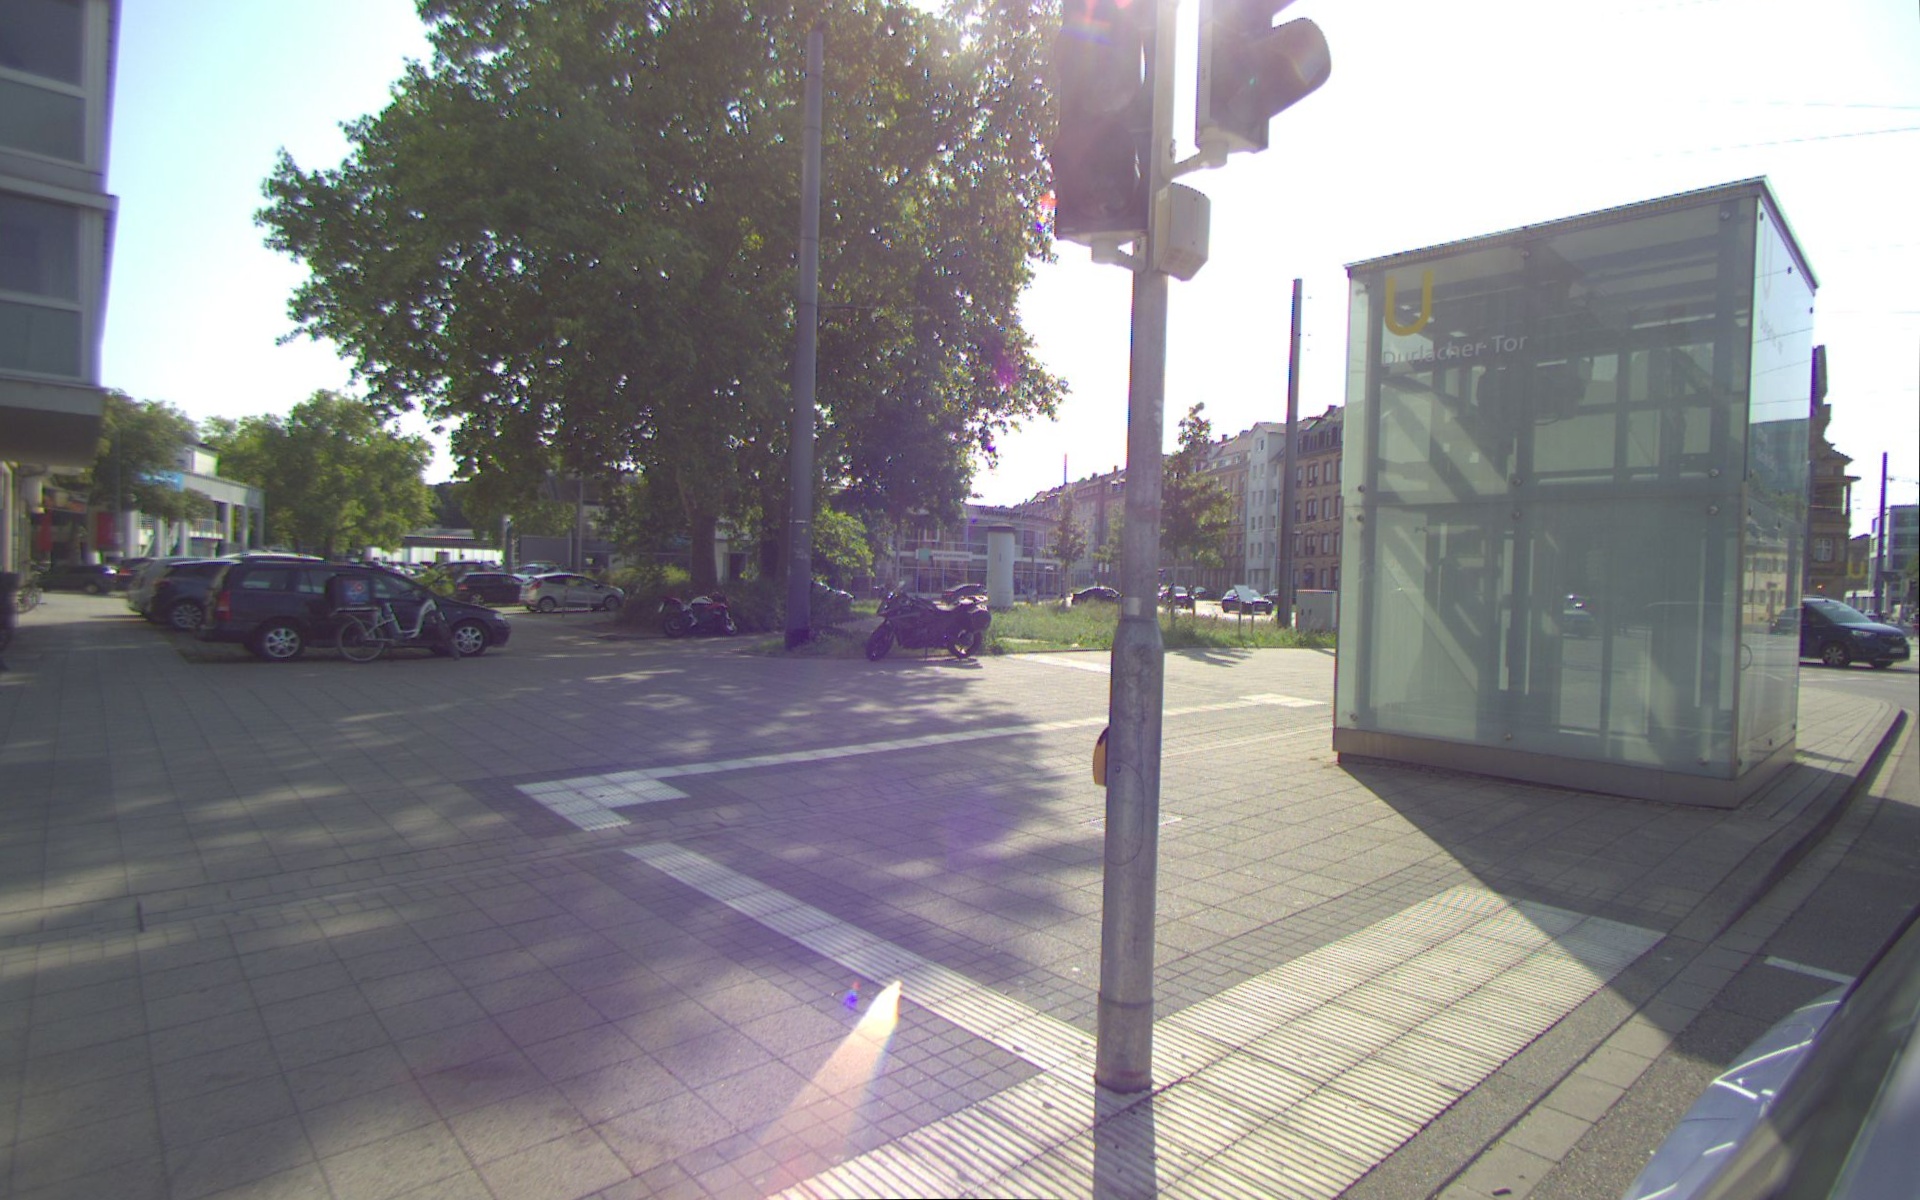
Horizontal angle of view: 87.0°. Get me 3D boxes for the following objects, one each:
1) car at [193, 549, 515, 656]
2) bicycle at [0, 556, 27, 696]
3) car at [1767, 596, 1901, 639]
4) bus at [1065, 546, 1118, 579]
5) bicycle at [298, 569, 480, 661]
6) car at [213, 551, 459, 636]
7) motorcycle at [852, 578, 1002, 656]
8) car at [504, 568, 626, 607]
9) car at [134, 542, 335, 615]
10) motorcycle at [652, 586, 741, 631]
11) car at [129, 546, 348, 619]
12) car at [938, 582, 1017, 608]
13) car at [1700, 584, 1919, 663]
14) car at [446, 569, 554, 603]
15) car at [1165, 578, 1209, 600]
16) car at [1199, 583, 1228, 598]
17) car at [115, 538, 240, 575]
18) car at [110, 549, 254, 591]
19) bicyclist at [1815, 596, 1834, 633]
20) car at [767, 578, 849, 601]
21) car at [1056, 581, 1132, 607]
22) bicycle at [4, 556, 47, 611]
[{"bbox_3d":[-9.422,0.017,15.922,4.120,1.459,1.660,1,2,-41],"label":"car"},{"bbox_3d":[-9.385,0.199,9.638,0.659,1.221,2.021,1,2,-41],"label":"bicycle"},{"bbox_3d":[37.716,0.737,43.783,1.707,1.601,3.985,2,1,-22],"label":"car"},{"bbox_3d":[12.968,-3.697,101.138,2.840,3.021,11.511,2,1,-5],"label":"bus"},{"bbox_3d":[-8.304,0.201,14.818,0.523,1.250,2.265,3,1,44],"label":"bicycle"},{"bbox_3d":[-12.408,-0.133,20.230,3.930,1.526,1.998,1,2,-41],"label":"car"},{"bbox_3d":[-0.514,0.274,16.127,2.253,1.161,0.706,1,1,-26],"label":"motorcycle"},{"bbox_3d":[-15.145,-0.465,38.872,3.932,1.393,1.996,0,2,-43],"label":"car"},{"bbox_3d":[-18.026,-0.515,25.215,3.930,1.665,1.998,1,2,-41],"label":"car"},{"bbox_3d":[-6.225,0.207,23.964,1.916,1.014,0.706,1,1,-26],"label":"motorcycle"},{"bbox_3d":[-16.433,-0.390,23.126,3.930,1.526,1.998,1,2,-41],"label":"car"},{"bbox_3d":[1.021,-0.302,60.806,4.305,1.387,2.005,1,1,-16],"label":"car"},{"bbox_3d":[23.241,0.566,27.654,1.765,1.850,4.784,2,1,-14],"label":"car"},{"bbox_3d":[-20.248,-0.622,44.600,3.932,1.393,1.996,0,2,-43],"label":"car"},{"bbox_3d":[16.465,-0.815,73.490,1.766,1.459,3.638,2,1,-10],"label":"car"},{"bbox_3d":[26.446,-1.019,105.766,1.706,1.478,3.844,2,1,-4],"label":"car"},{"bbox_3d":[-32.245,-1.775,41.758,3.932,1.393,1.739,0,2,-43],"label":"car"},{"bbox_3d":[-27.917,-1.070,36.362,3.932,1.393,1.996,0,2,-43],"label":"car"},{"bbox_3d":[41.865,0.699,49.017,0.583,1.752,0.588,2,0,35],"label":"bicyclist"},{"bbox_3d":[-8.711,-0.612,57.920,4.305,1.180,2.005,1,1,-18],"label":"car"},{"bbox_3d":[8.195,-0.381,62.194,4.316,1.387,2.000,2,1,1],"label":"car"},{"bbox_3d":[-21.911,-0.398,23.759,0.659,1.221,2.021,1,2,-41],"label":"bicycle"}]
